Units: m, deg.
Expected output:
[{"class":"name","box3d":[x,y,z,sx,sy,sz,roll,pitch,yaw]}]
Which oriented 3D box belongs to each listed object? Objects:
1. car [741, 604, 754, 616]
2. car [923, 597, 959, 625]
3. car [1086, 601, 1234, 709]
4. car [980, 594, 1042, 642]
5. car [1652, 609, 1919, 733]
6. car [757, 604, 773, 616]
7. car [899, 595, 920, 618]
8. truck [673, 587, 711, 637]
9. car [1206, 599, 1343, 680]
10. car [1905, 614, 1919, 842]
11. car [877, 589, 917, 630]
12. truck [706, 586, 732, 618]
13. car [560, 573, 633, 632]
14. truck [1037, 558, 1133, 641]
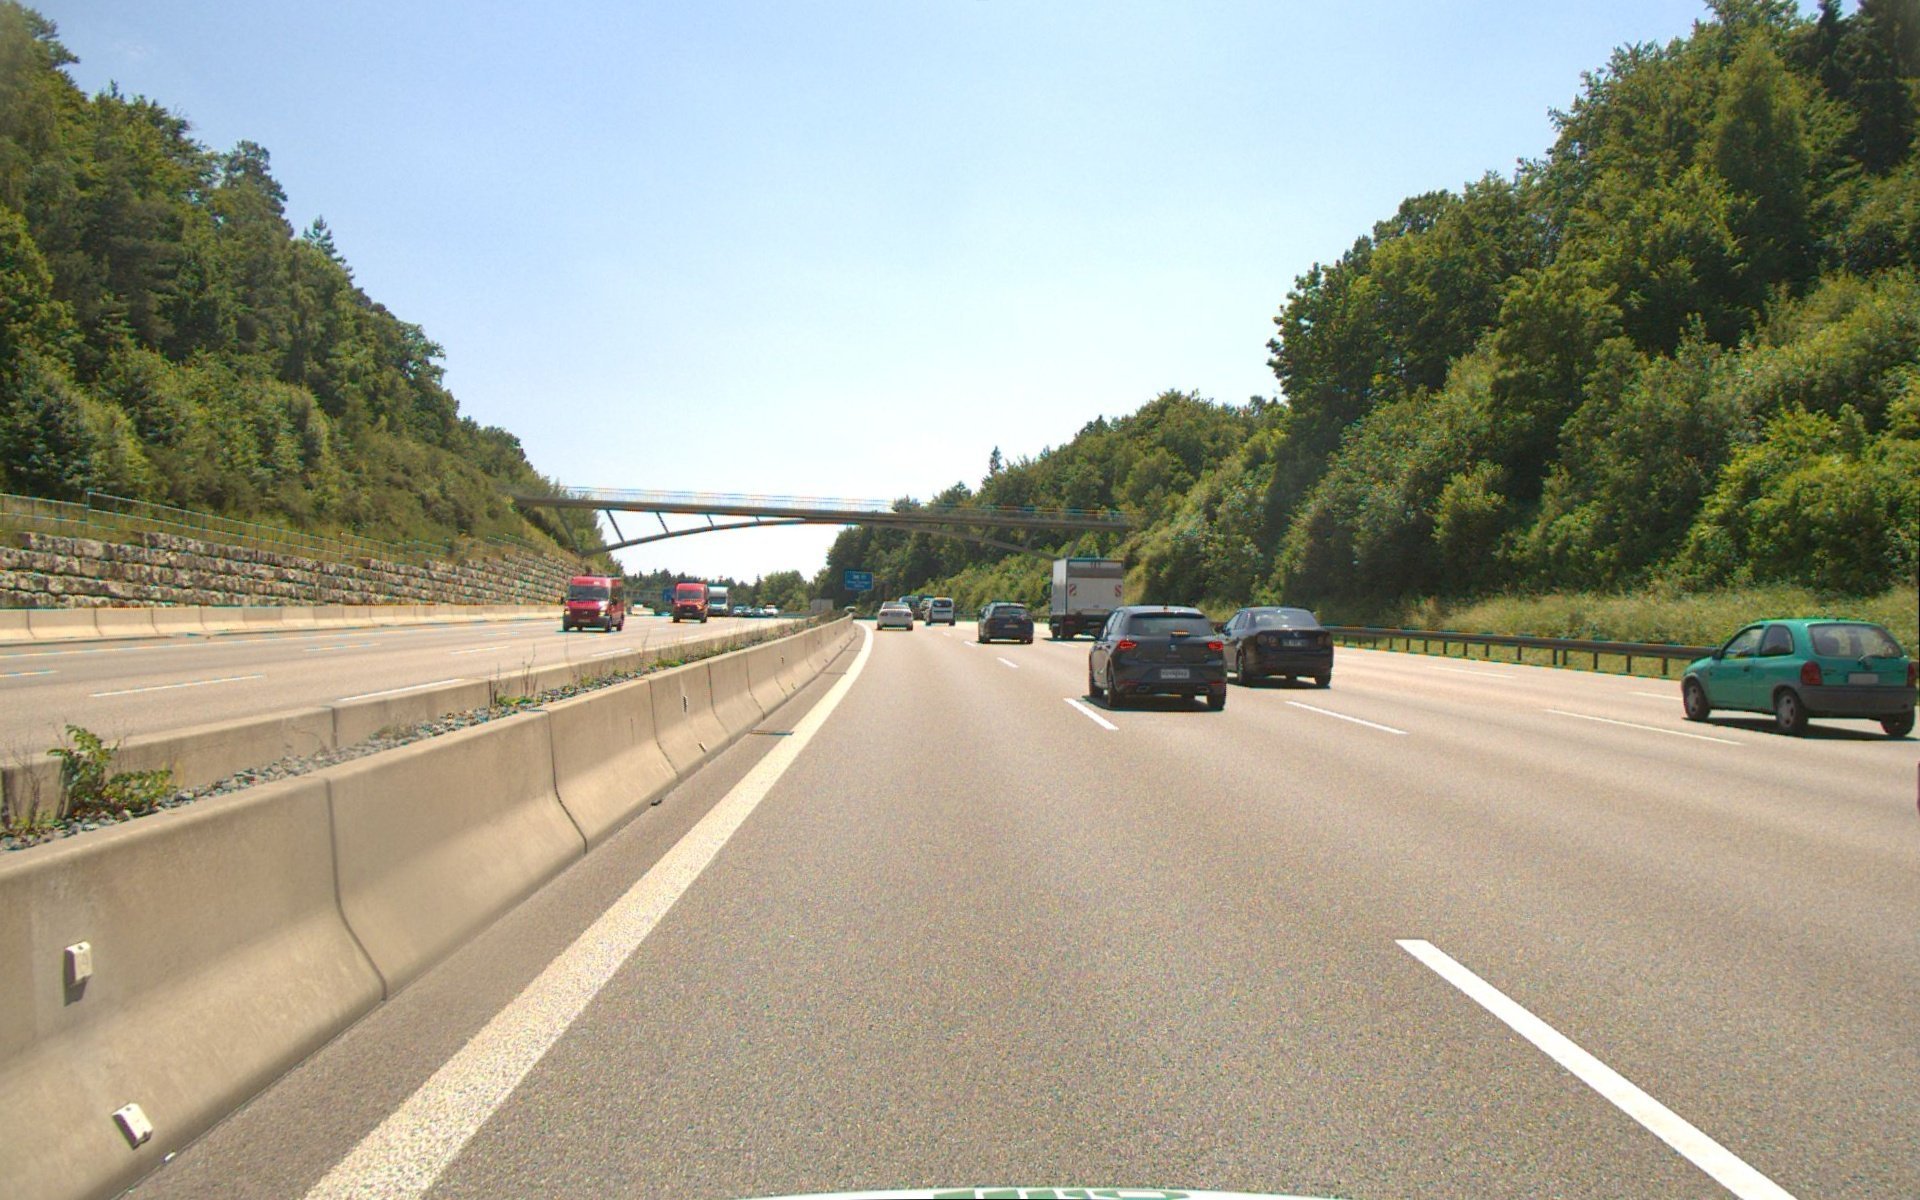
[{"class":"car","box3d":[-30.361,1.442,236.622,1.621,1.577,3.996,2,1,-6]},{"class":"car","box3d":[-1.288,0.726,109.912,2.062,1.775,4.684,1,0,-4]},{"class":"car","box3d":[2.930,0.769,24.964,1.673,1.458,3.999,1,0,-1]},{"class":"car","box3d":[1.811,0.614,60.380,1.953,1.662,4.758,1,0,-2]},{"class":"car","box3d":[11.006,0.874,22.143,1.513,1.469,4.338,1,0,-3]},{"class":"car","box3d":[-25.865,1.285,219.597,1.864,1.522,4.800,1,0,-5]},{"class":"car","box3d":[-5.608,0.744,183.557,2.220,2.413,4.699,1,-1,-2]},{"class":"truck","box3d":[-17.183,0.720,106.376,2.070,3.028,7.004,1,1,-7]},{"class":"car","box3d":[6.005,0.709,32.124,1.631,1.433,4.902,1,0,-1]},{"class":"car","box3d":[6.880,0.802,8.433,1.668,1.420,4.152,1,0,-2]},{"class":"car","box3d":[-3.315,0.508,86.223,1.972,1.878,3.996,1,-3,-3]},{"class":"truck","box3d":[-24.582,0.194,169.001,2.232,3.198,6.911,2,0,-5]},{"class":"car","box3d":[-15.322,0.083,69.927,1.953,2.377,5.542,1,0,-1]},{"class":"truck","box3d":[5.094,-0.011,68.743,2.926,3.222,7.568,1,0,-4]}]
